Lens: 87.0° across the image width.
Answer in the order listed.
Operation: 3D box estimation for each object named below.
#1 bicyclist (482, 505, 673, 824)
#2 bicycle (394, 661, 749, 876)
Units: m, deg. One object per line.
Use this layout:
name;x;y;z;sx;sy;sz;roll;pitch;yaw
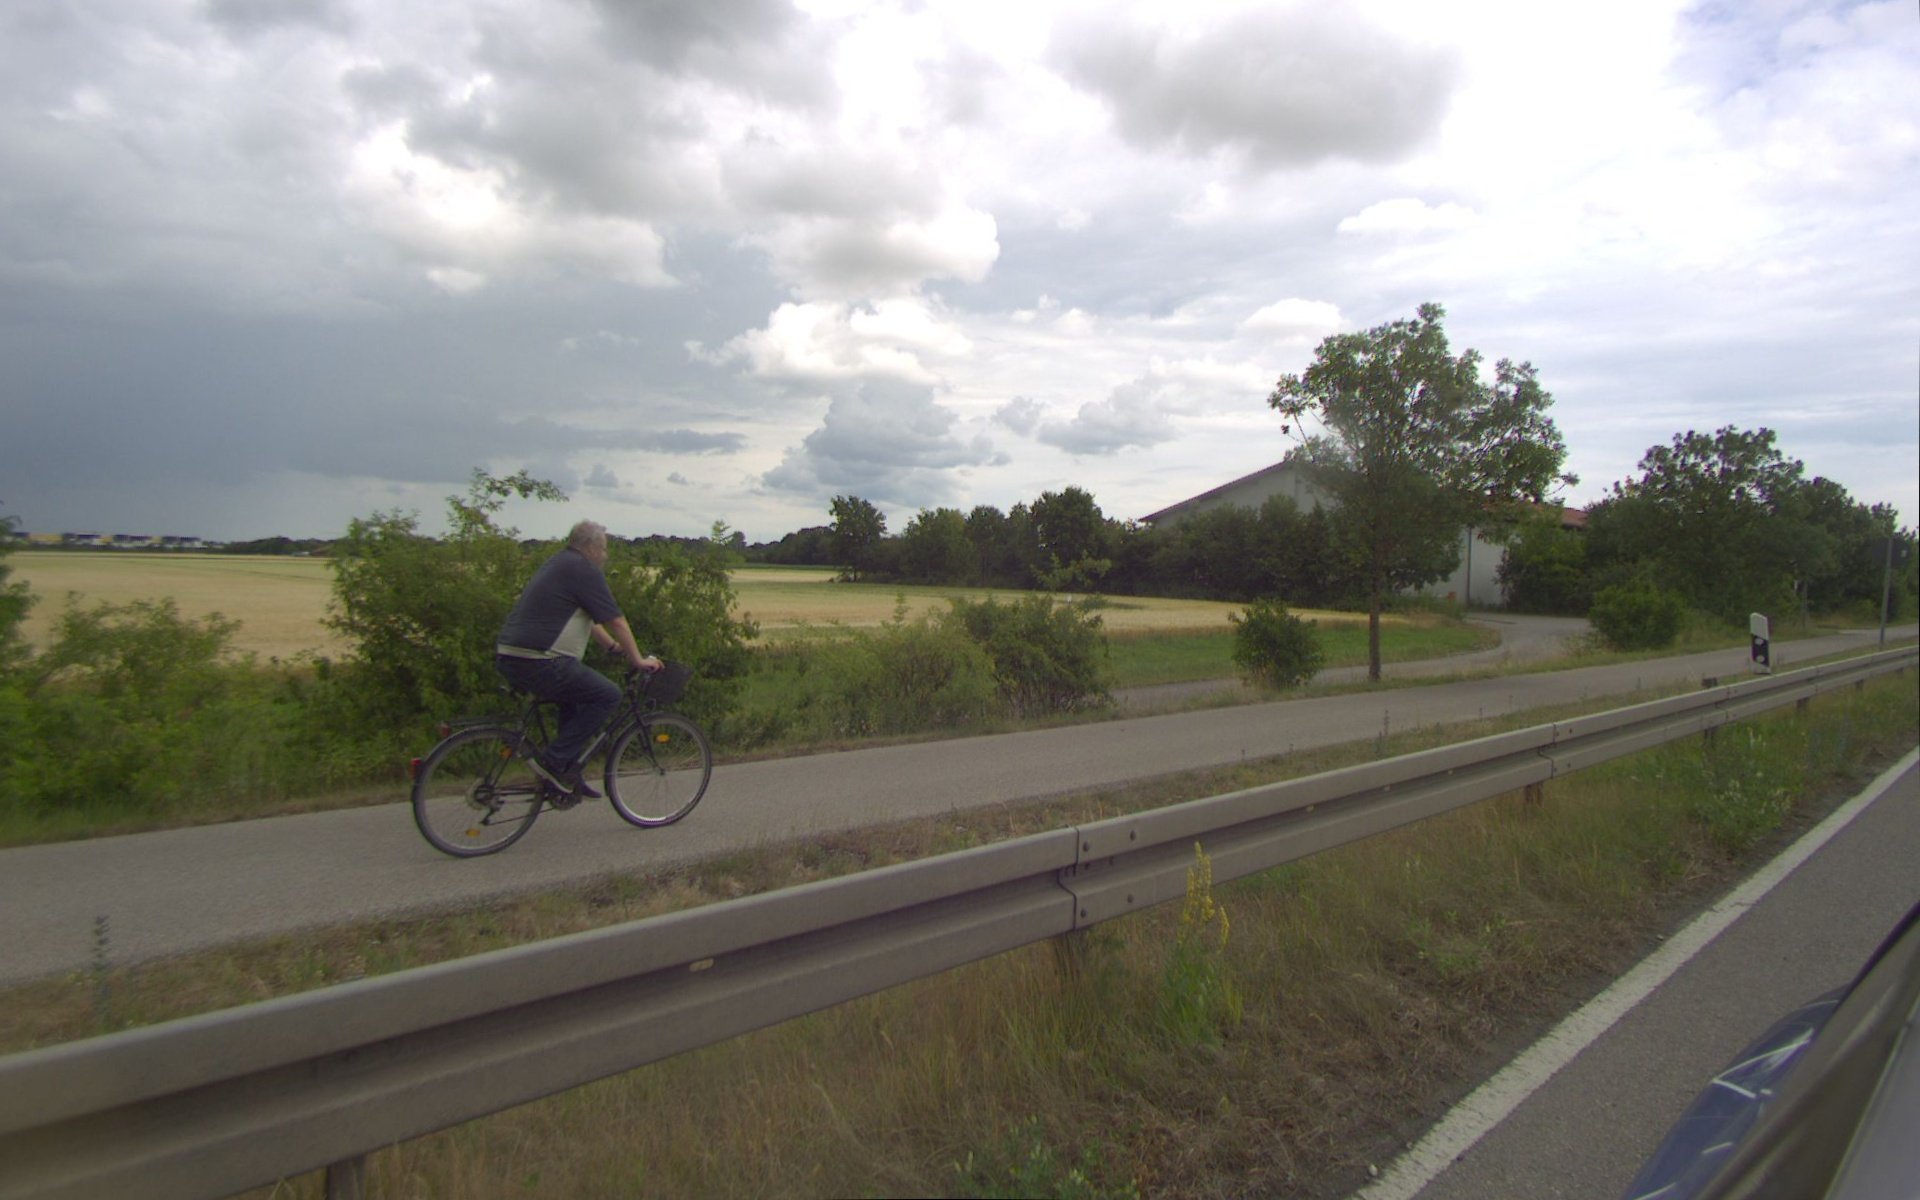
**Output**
bicyclist;-2.194;0.324;5.808;0.851;1.665;0.648;0;1;-41
bicycle;-2.181;0.881;5.834;1.798;0.931;0.667;0;2;-41
